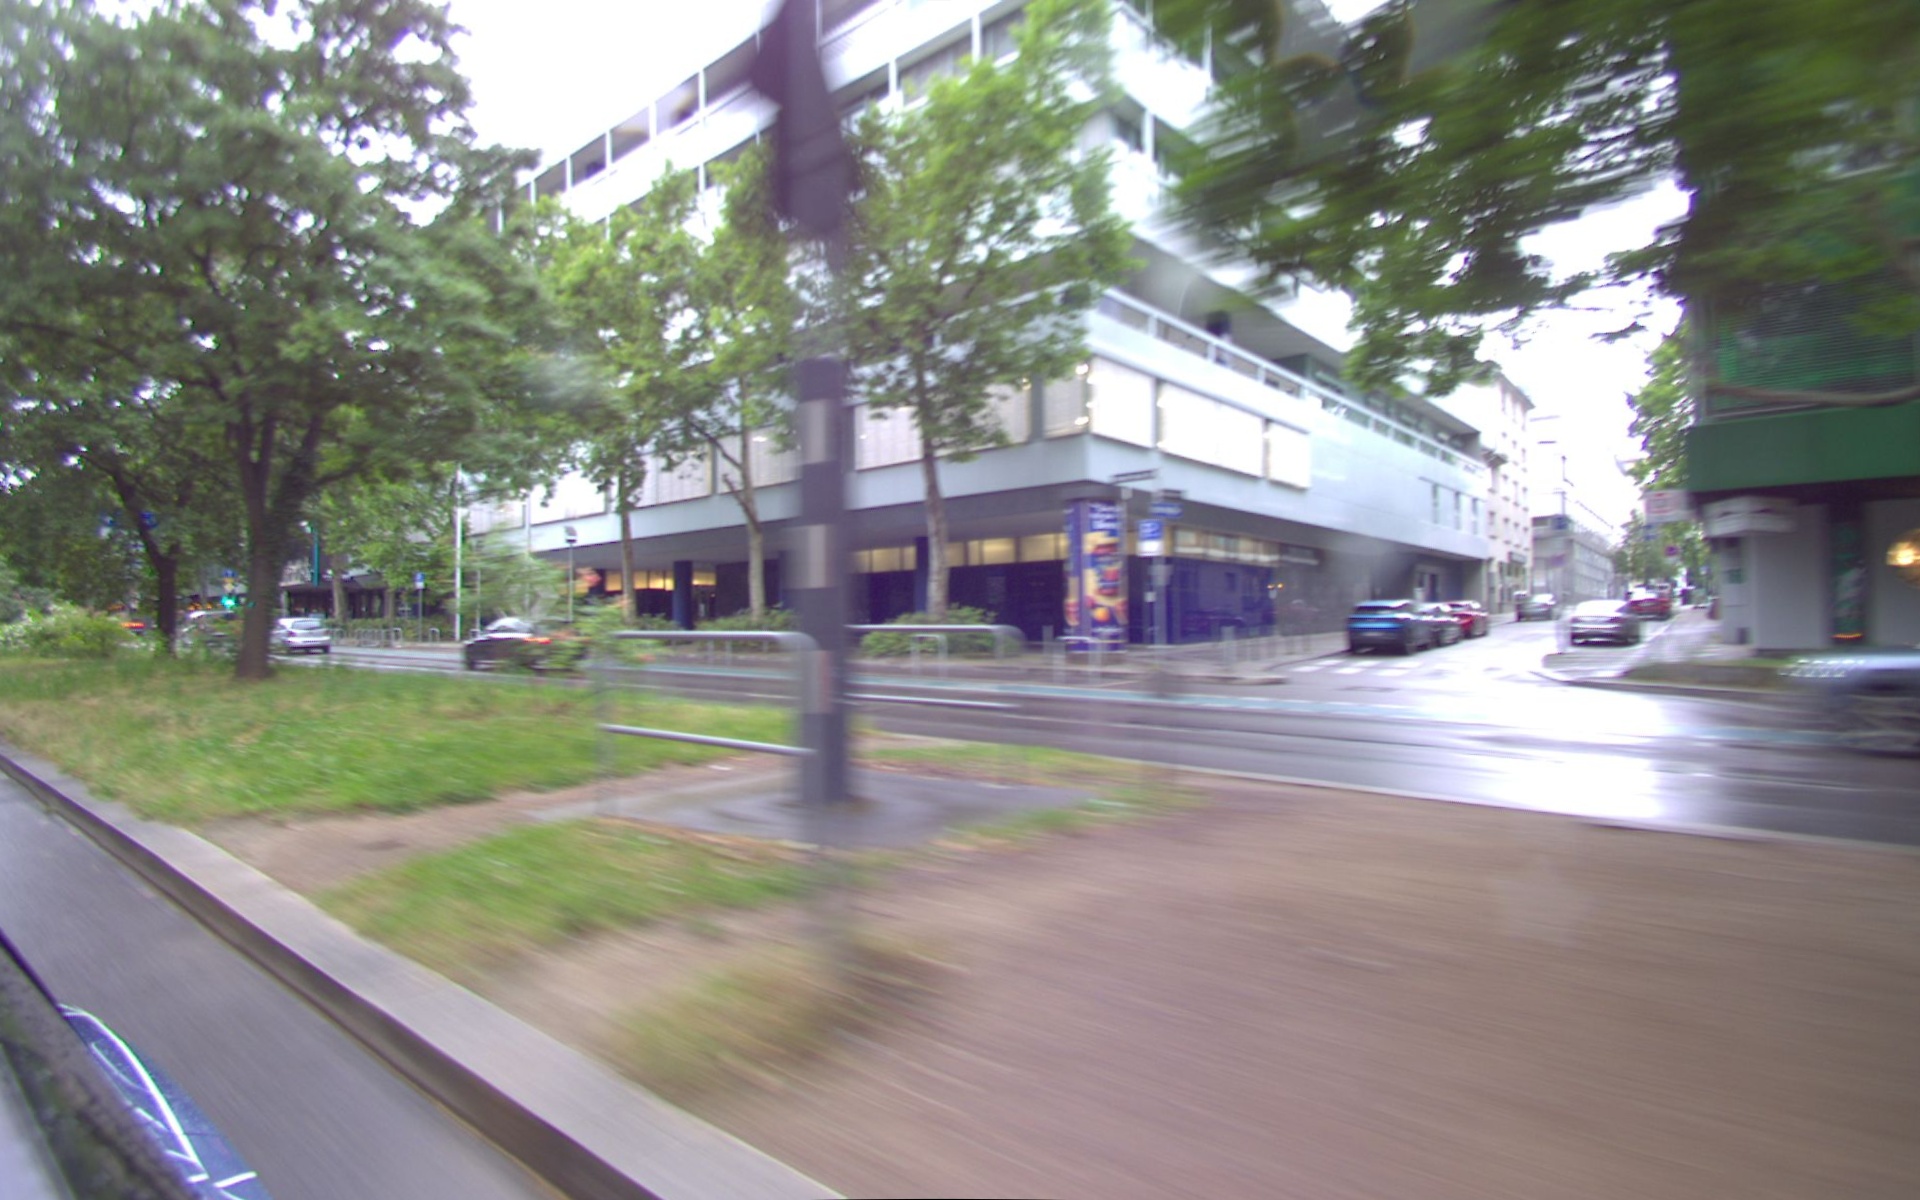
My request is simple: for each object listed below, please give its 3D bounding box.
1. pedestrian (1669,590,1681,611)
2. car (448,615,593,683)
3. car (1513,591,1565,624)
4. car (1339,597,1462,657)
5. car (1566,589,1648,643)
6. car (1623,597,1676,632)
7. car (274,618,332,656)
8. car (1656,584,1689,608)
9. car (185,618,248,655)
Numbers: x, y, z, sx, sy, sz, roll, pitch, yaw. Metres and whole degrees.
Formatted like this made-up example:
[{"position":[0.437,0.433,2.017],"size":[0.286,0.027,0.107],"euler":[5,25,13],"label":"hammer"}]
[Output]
[{"position":[55.947,0.063,79.170],"size":[0.556,1.627,0.561],"euler":[-1,0,-6],"label":"pedestrian"},{"position":[-12.050,1.285,27.574],"size":[1.971,1.502,4.760],"euler":[-8,4,-44],"label":"car"},{"position":[31.911,0.407,55.754],"size":[1.997,1.696,3.950],"euler":[-1,-1,37],"label":"car"},{"position":[13.742,0.783,31.401],"size":[2.000,1.705,4.934],"euler":[-1,-1,42],"label":"car"},{"position":[21.697,0.510,33.876],"size":[1.997,1.696,3.950],"euler":[-1,-1,37],"label":"car"},{"position":[34.966,0.721,51.286],"size":[1.997,1.696,3.950],"euler":[-1,-1,37],"label":"car"},{"position":[-26.825,1.497,41.265],"size":[3.560,1.473,1.148],"euler":[-2,-2,43],"label":"car"},{"position":[49.627,-0.297,70.462],"size":[1.702,1.581,3.807],"euler":[-1,0,38],"label":"car"},{"position":[-38.401,1.860,52.251],"size":[4.283,1.815,1.971],"euler":[-2,-2,45],"label":"car"}]
